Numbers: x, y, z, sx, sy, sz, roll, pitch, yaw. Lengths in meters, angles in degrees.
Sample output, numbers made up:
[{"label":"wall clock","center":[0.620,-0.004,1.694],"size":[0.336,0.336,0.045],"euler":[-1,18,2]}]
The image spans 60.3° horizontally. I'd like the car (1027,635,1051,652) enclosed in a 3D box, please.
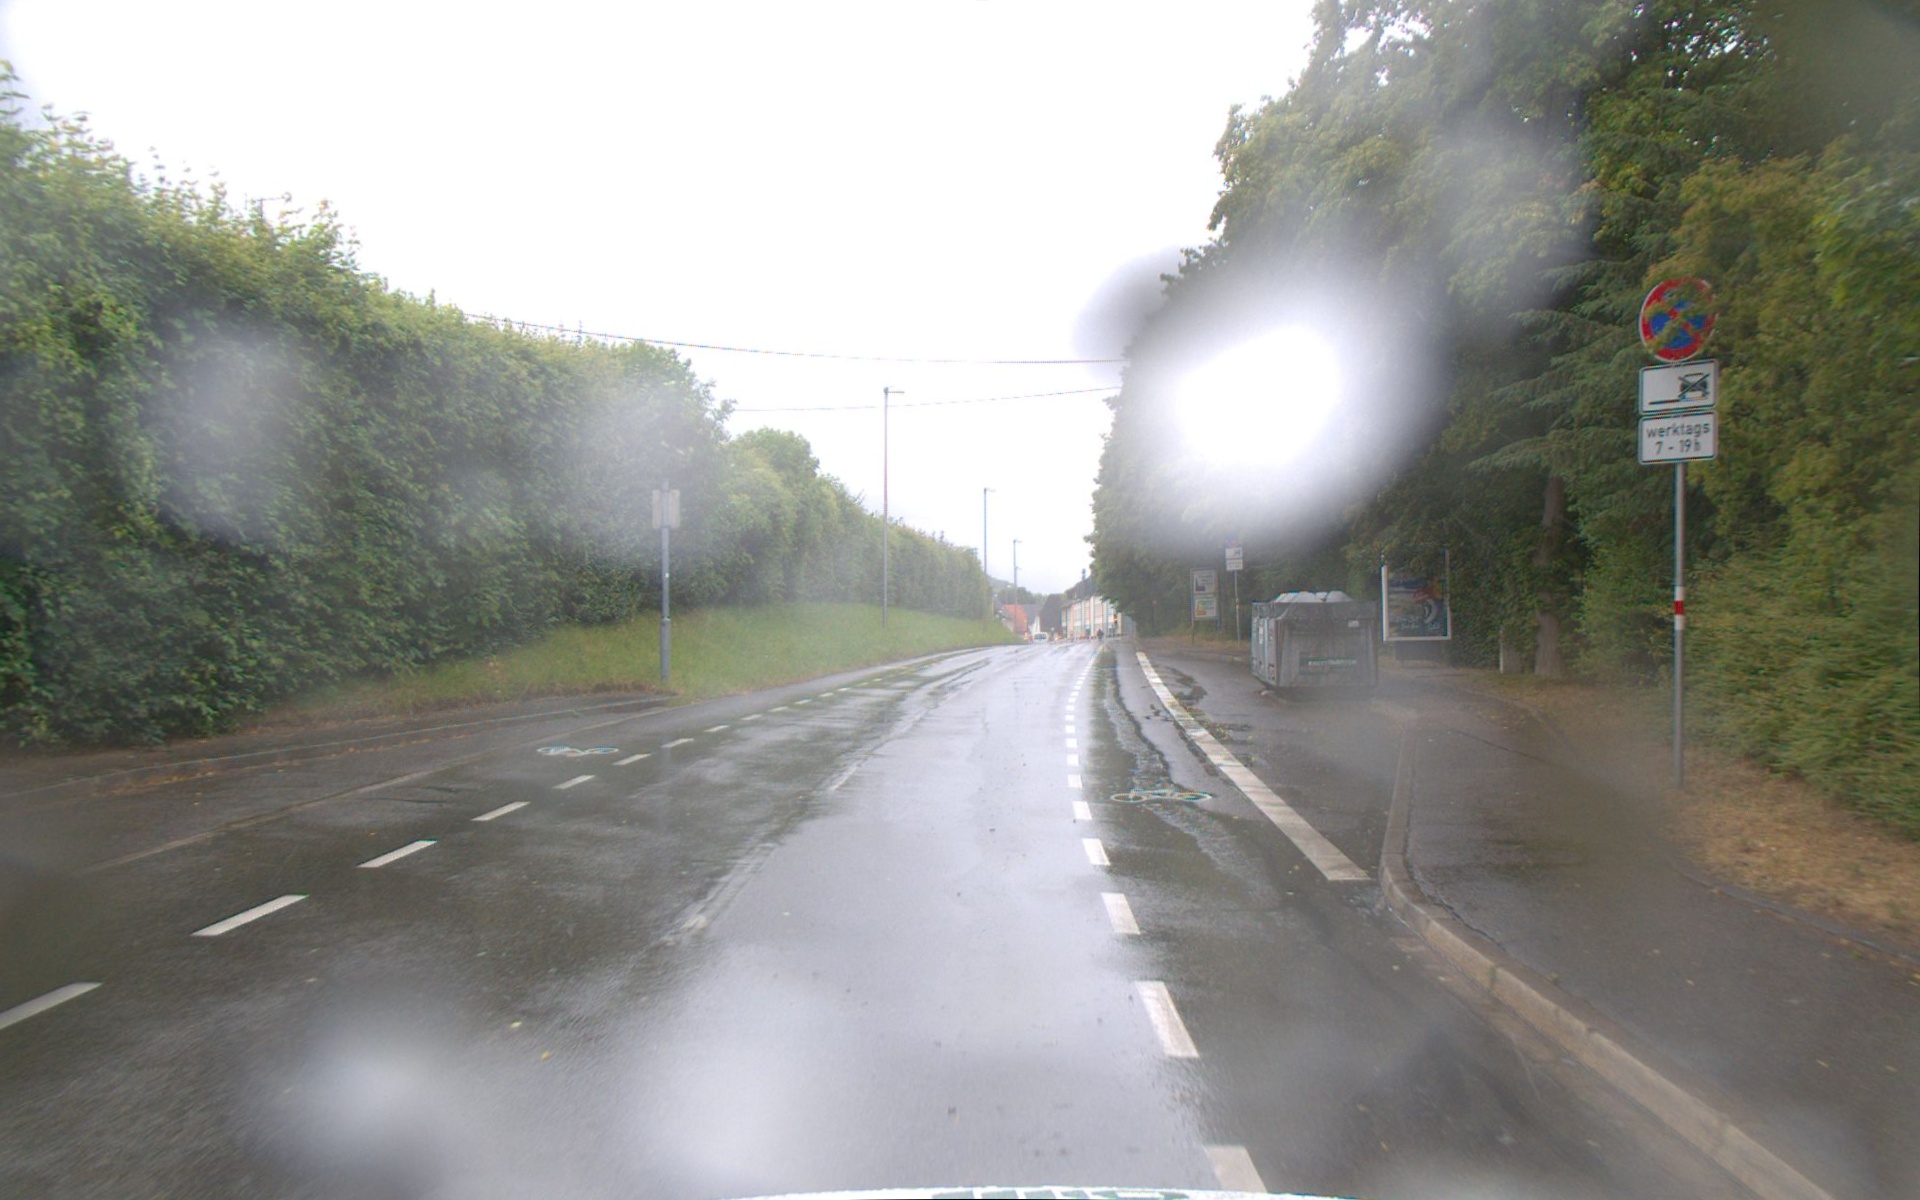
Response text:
[{"label":"car","center":[8.134,4.493,170.225],"size":[1.954,1.639,3.997],"euler":[1,0,-4]}]
